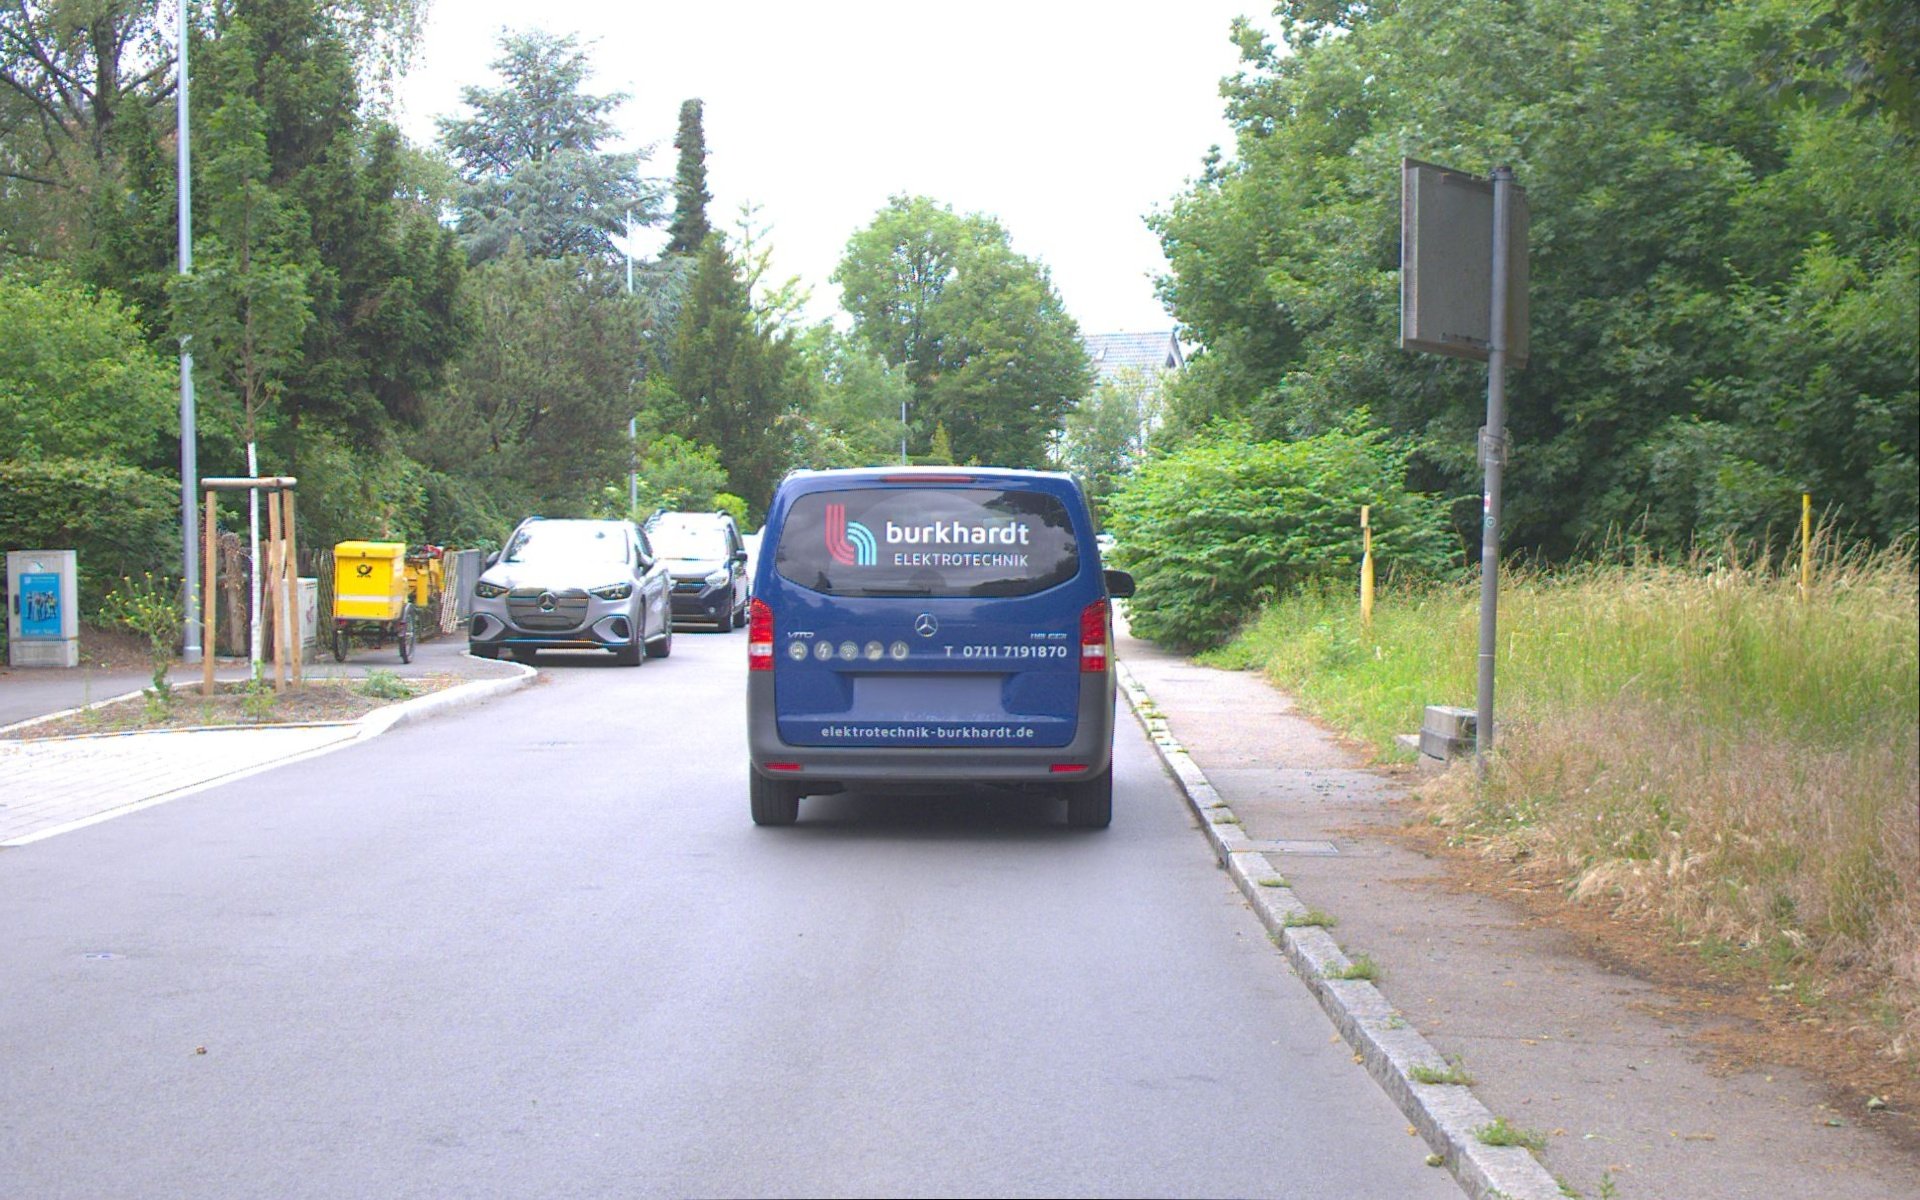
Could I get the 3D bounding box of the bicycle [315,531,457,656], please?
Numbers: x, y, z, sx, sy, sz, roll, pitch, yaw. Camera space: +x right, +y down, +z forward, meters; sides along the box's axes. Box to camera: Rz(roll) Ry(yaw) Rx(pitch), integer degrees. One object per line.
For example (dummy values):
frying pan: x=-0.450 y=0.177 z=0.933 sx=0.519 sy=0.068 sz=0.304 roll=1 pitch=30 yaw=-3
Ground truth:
bicycle: x=-6.061 y=-0.091 z=36.457 sx=0.906 sy=1.247 sz=2.916 roll=2 pitch=1 yaw=1

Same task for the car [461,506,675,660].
car: x=-4.421 y=-0.229 z=39.354 sx=1.836 sy=1.625 sz=4.300 roll=1 pitch=1 yaw=1

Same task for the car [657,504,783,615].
car: x=-4.036 y=-0.690 z=58.415 sx=1.831 sy=1.798 sz=4.000 roll=1 pitch=1 yaw=0

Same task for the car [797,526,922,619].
car: x=-1.625 y=-0.477 z=56.773 sx=1.819 sy=1.438 sz=4.000 roll=1 pitch=1 yaw=1

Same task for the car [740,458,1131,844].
car: x=-0.189 y=0.165 z=18.686 sx=1.888 sy=1.837 sz=4.001 roll=0 pitch=3 yaw=-2

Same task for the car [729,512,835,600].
car: x=-3.793 y=-0.976 z=73.890 sx=1.892 sy=1.686 sz=4.549 roll=1 pitch=3 yaw=1

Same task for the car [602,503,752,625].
car: x=-4.260 y=-0.587 z=52.252 sx=1.832 sy=1.745 sz=4.000 roll=1 pitch=2 yaw=1
